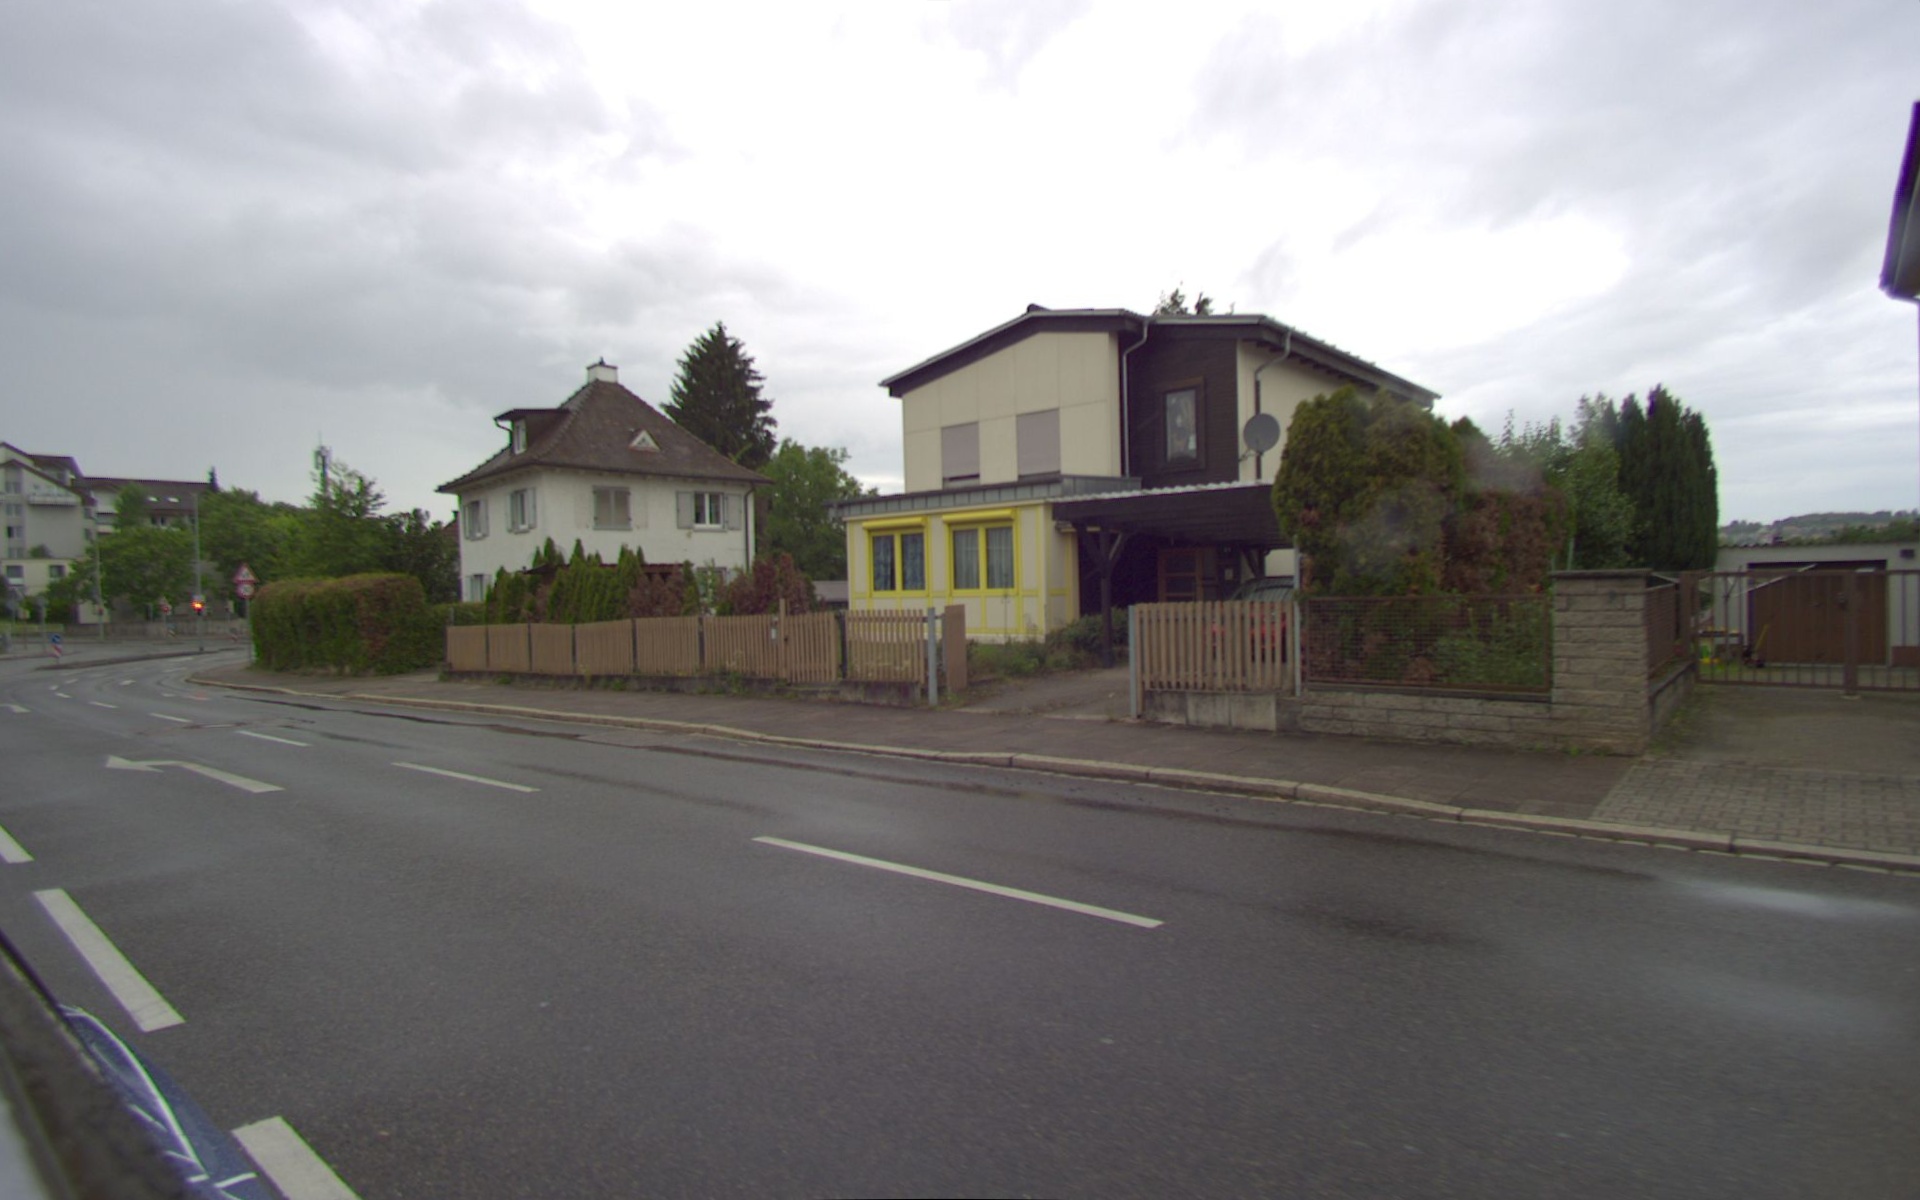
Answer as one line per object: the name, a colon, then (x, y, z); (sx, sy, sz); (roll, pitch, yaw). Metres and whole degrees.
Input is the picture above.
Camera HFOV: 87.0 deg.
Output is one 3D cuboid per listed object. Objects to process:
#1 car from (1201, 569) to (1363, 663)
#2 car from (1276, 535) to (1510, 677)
car: (6.046, 0.320, 18.877); (1.594, 1.594, 3.143); (-3, -3, 45)
car: (6.980, 0.143, 16.158); (3.940, 1.969, 2.002); (1, -3, -43)
